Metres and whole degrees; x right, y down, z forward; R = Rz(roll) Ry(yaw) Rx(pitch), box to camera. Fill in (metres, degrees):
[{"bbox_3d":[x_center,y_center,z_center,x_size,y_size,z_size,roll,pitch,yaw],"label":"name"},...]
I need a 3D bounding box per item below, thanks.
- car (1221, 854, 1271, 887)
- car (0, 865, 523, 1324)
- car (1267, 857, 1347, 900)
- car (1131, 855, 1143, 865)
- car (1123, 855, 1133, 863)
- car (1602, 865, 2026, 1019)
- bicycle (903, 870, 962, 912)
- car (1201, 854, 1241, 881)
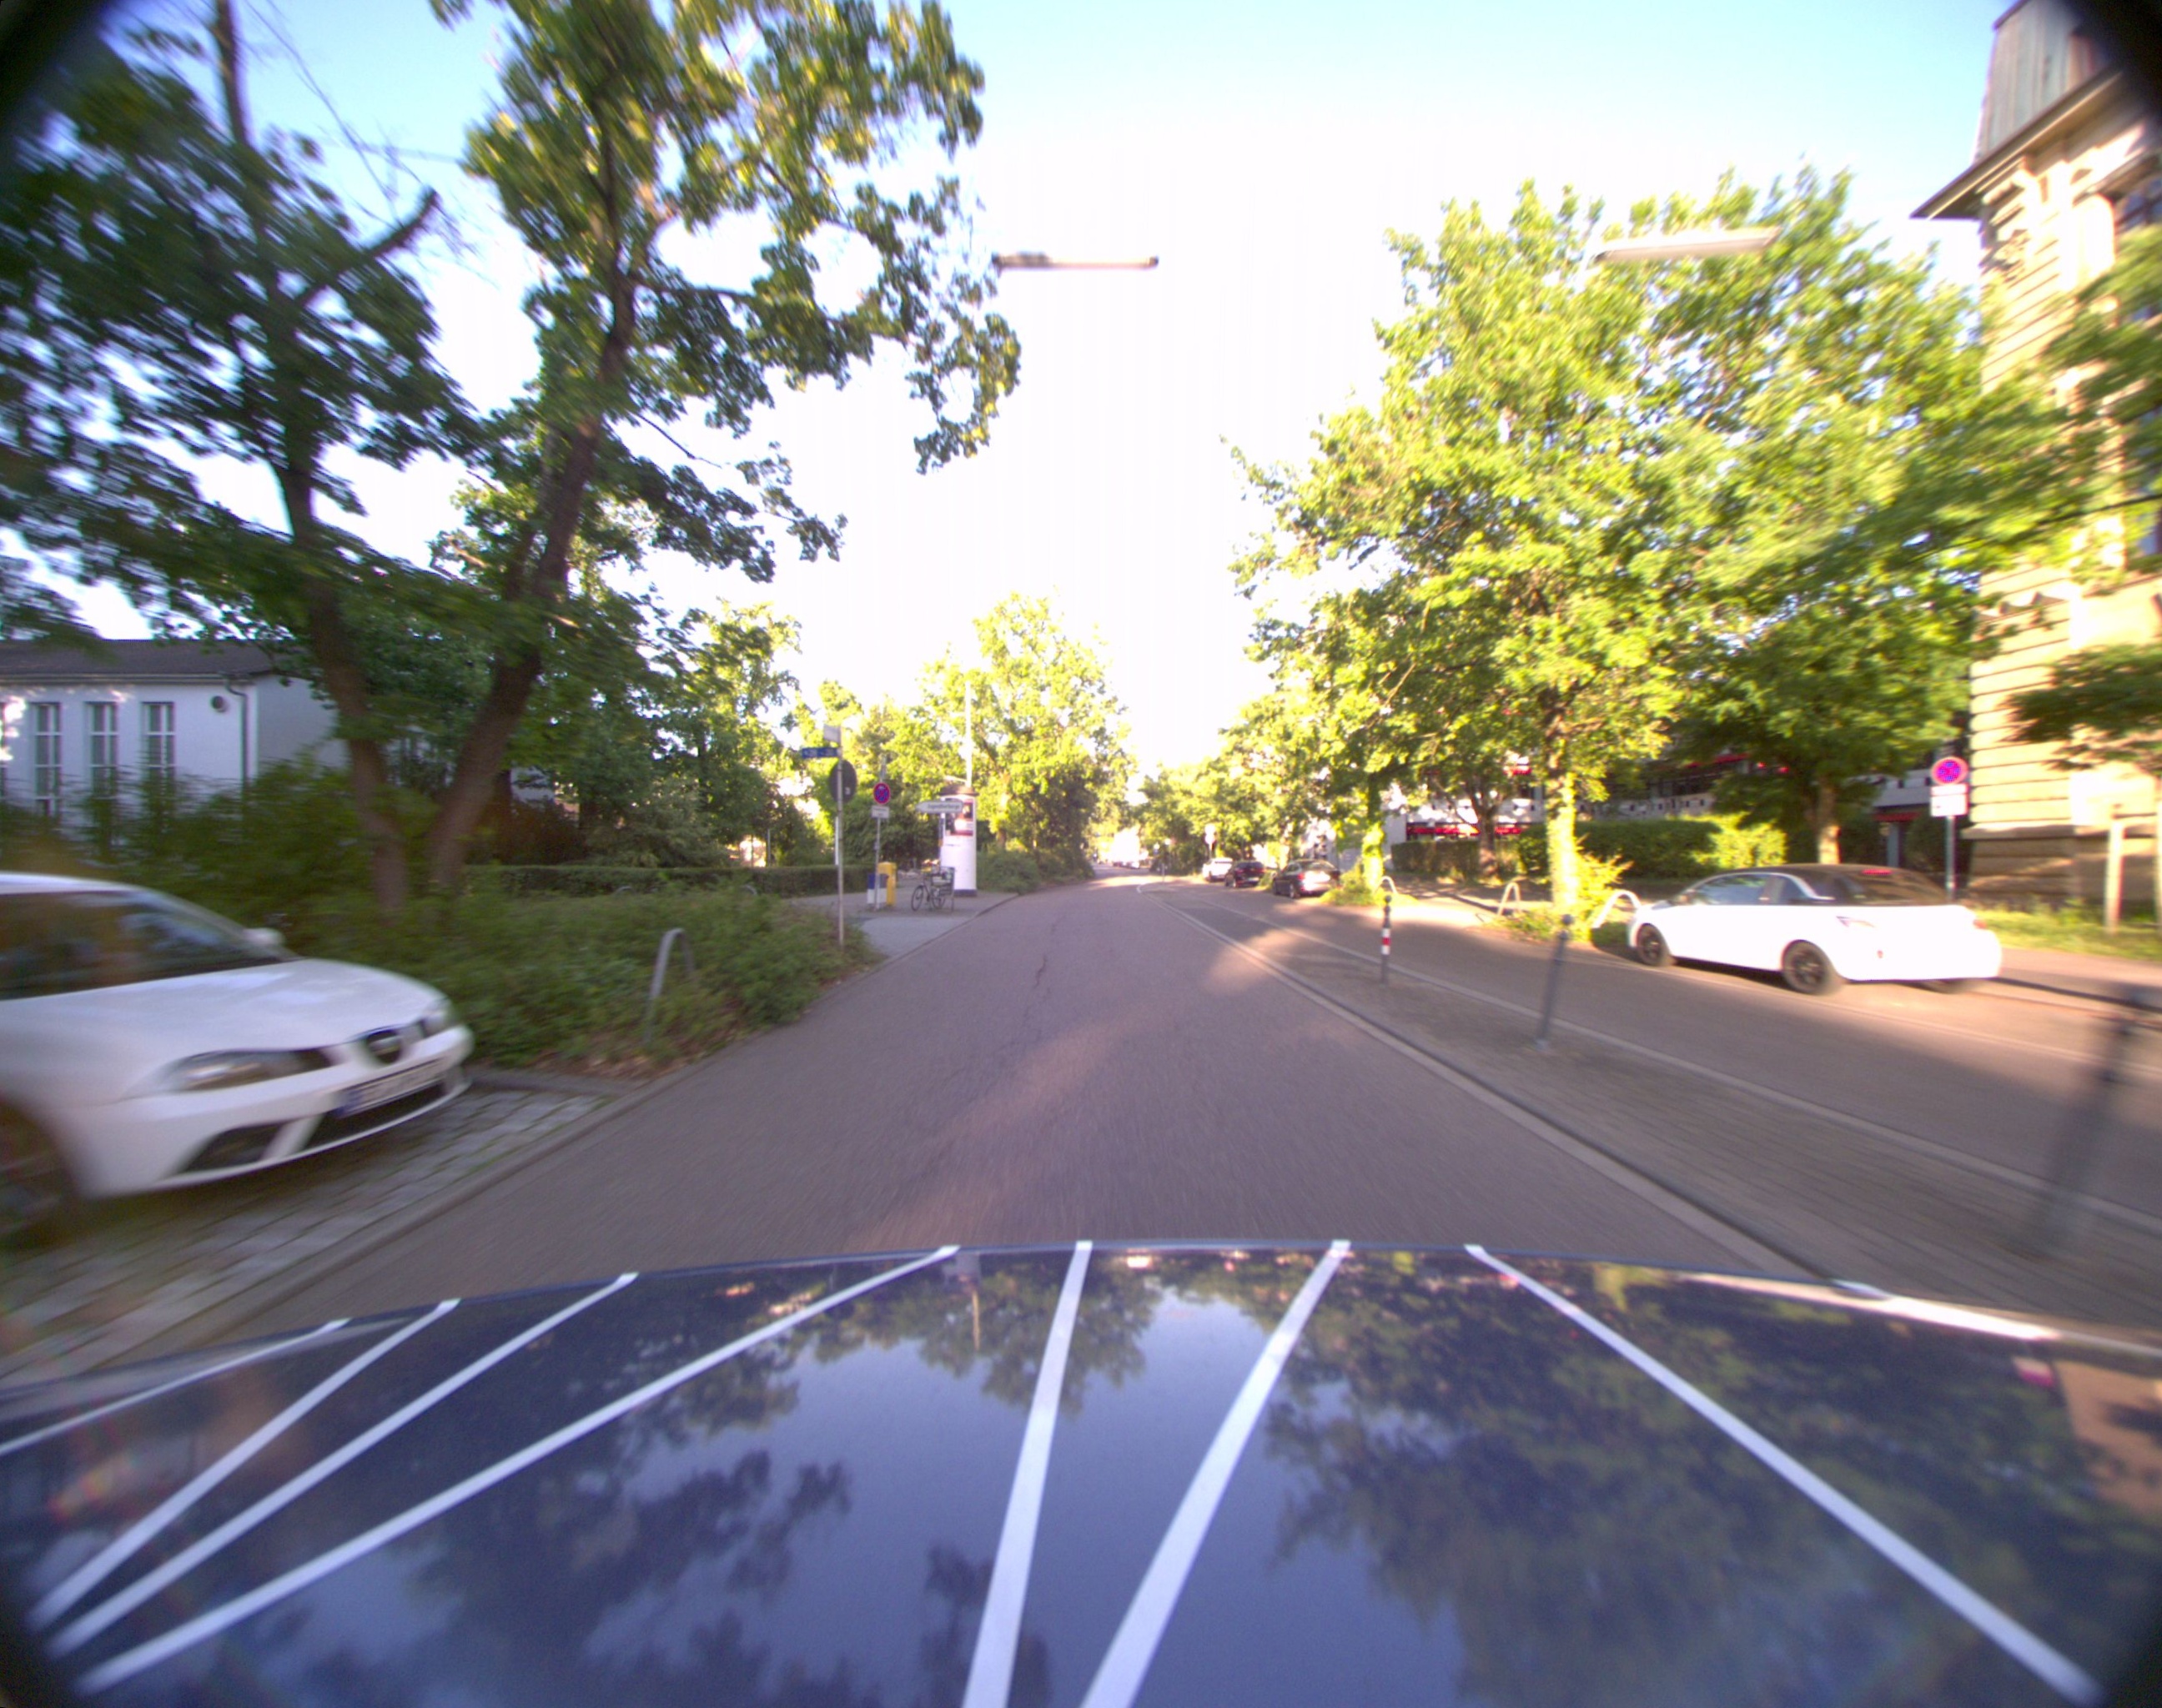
[{"bbox_3d":[8.839,0.855,41.011,1.784,1.606,4.147,-1,0,0],"label":"car"},{"bbox_3d":[-5.480,0.864,3.581,4.374,1.545,1.727,2,0,-1],"label":"car"},{"bbox_3d":[8.888,0.914,30.321,1.807,1.502,4.862,-1,0,1],"label":"car"},{"bbox_3d":[9.323,1.001,126.478,1.776,1.474,4.109,-1,0,0],"label":"car"},{"bbox_3d":[9.717,1.028,156.268,1.776,1.559,4.109,-1,0,0],"label":"car"},{"bbox_3d":[8.806,0.924,9.691,1.622,1.487,3.924,-1,0,0],"label":"car"},{"bbox_3d":[-4.255,1.035,21.932,0.493,1.141,2.289,3,0,20],"label":"bicycle"},{"bbox_3d":[9.028,0.833,49.133,1.808,1.606,4.147,0,0,0],"label":"car"}]
